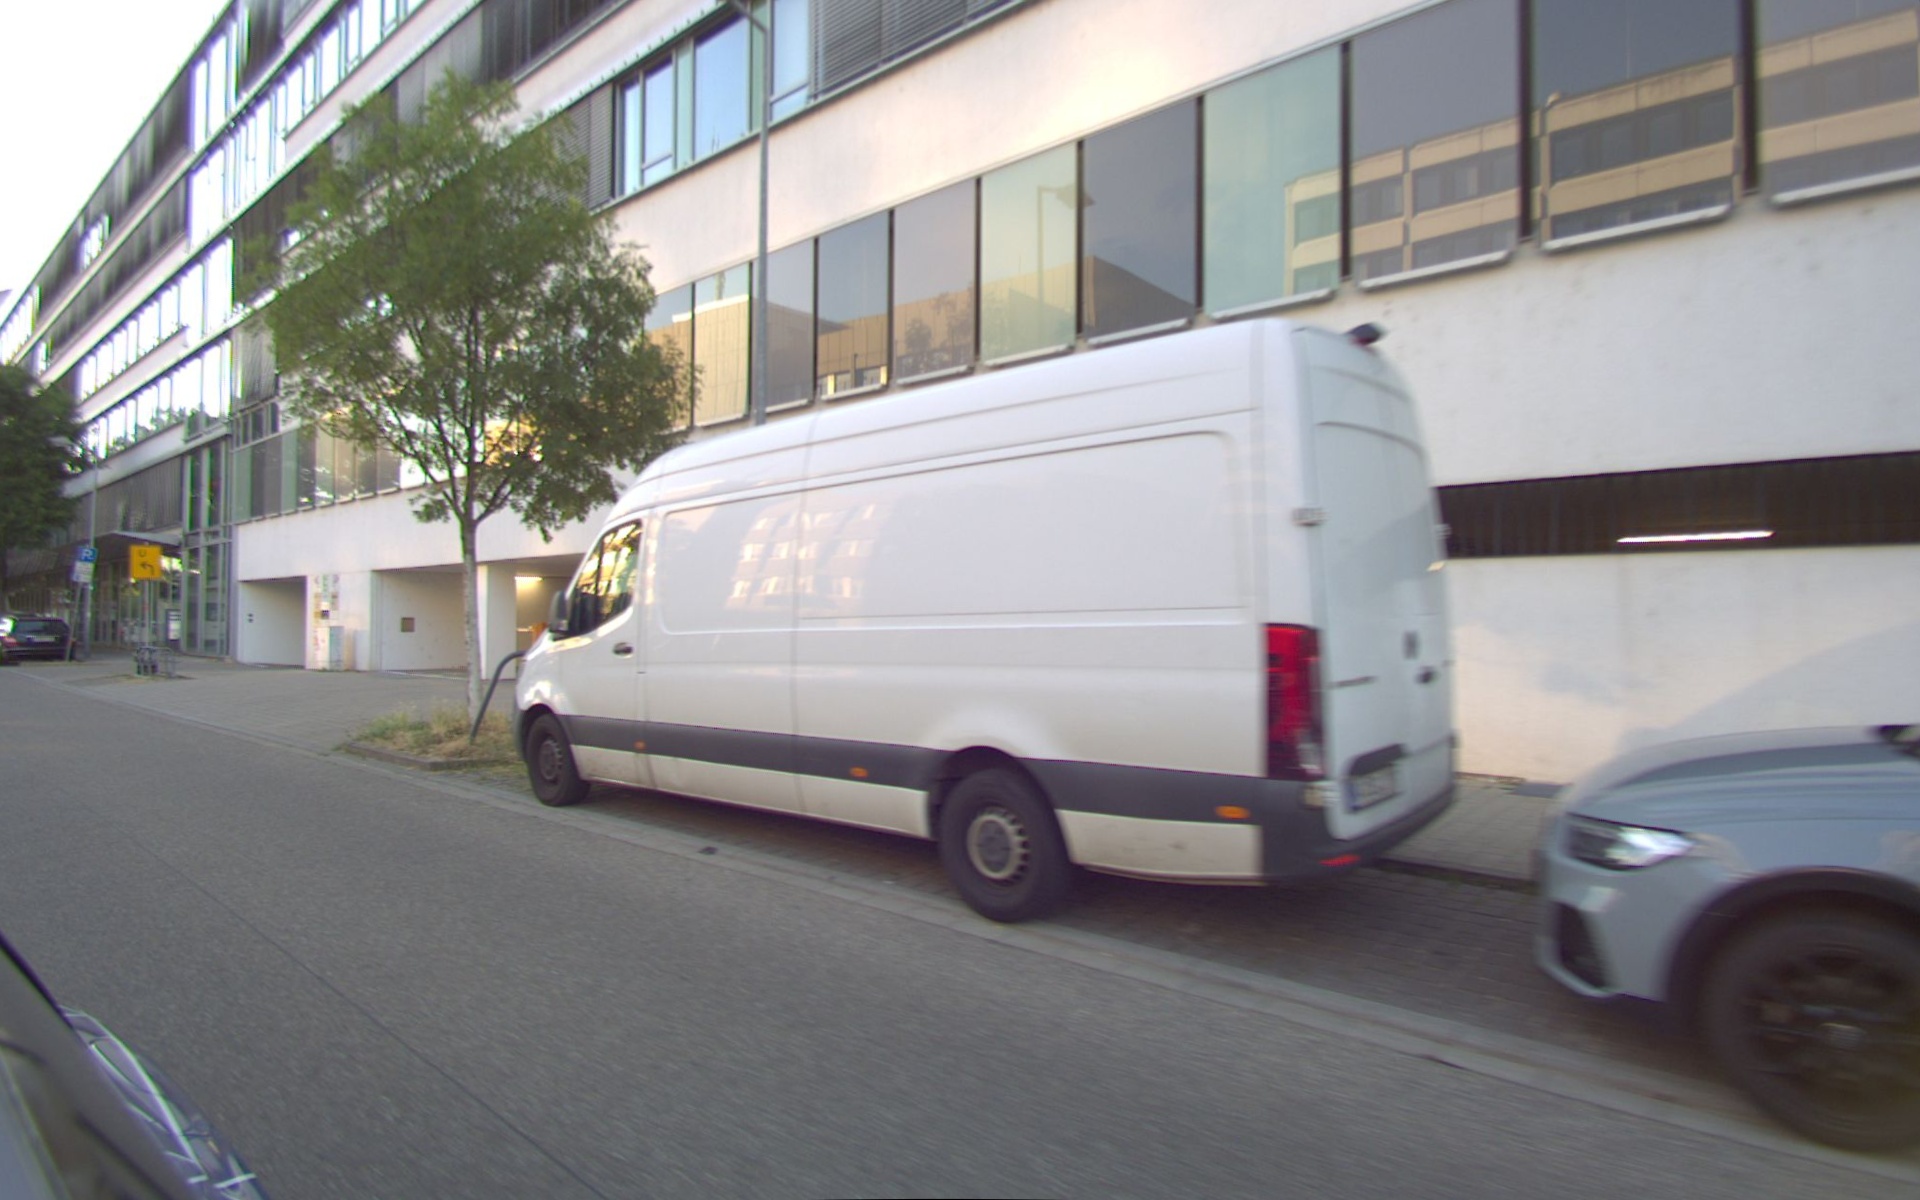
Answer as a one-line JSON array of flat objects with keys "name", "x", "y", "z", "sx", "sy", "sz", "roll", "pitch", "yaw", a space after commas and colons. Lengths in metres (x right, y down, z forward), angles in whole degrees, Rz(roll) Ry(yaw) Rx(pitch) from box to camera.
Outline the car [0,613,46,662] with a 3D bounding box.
[{"name": "car", "x": -32.419, "y": 1.247, "z": 34.151, "sx": 4.264, "sy": 1.583, "sz": 1.825, "roll": -2, "pitch": -2, "yaw": 41}]

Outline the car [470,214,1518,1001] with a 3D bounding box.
[{"name": "car", "x": -0.577, "y": 0.086, "z": 6.394, "sx": 6.888, "sy": 2.637, "sz": 1.938, "roll": -2, "pitch": 0, "yaw": 41}]

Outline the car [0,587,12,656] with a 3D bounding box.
[{"name": "car", "x": -40.331, "y": 0.903, "z": 41.011, "sx": 6.947, "sy": 2.684, "sz": 2.079, "roll": -2, "pitch": -2, "yaw": 41}]

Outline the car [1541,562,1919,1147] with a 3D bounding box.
[{"name": "car", "x": 3.804, "y": 0.586, "z": 2.535, "sx": 3.893, "sy": 1.450, "sz": 1.740, "roll": -2, "pitch": 0, "yaw": 36}]

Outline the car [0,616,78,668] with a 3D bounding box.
[{"name": "car", "x": -28.206, "y": 1.229, "z": 30.392, "sx": 4.390, "sy": 1.463, "sz": 1.699, "roll": -2, "pitch": -2, "yaw": 36}]
